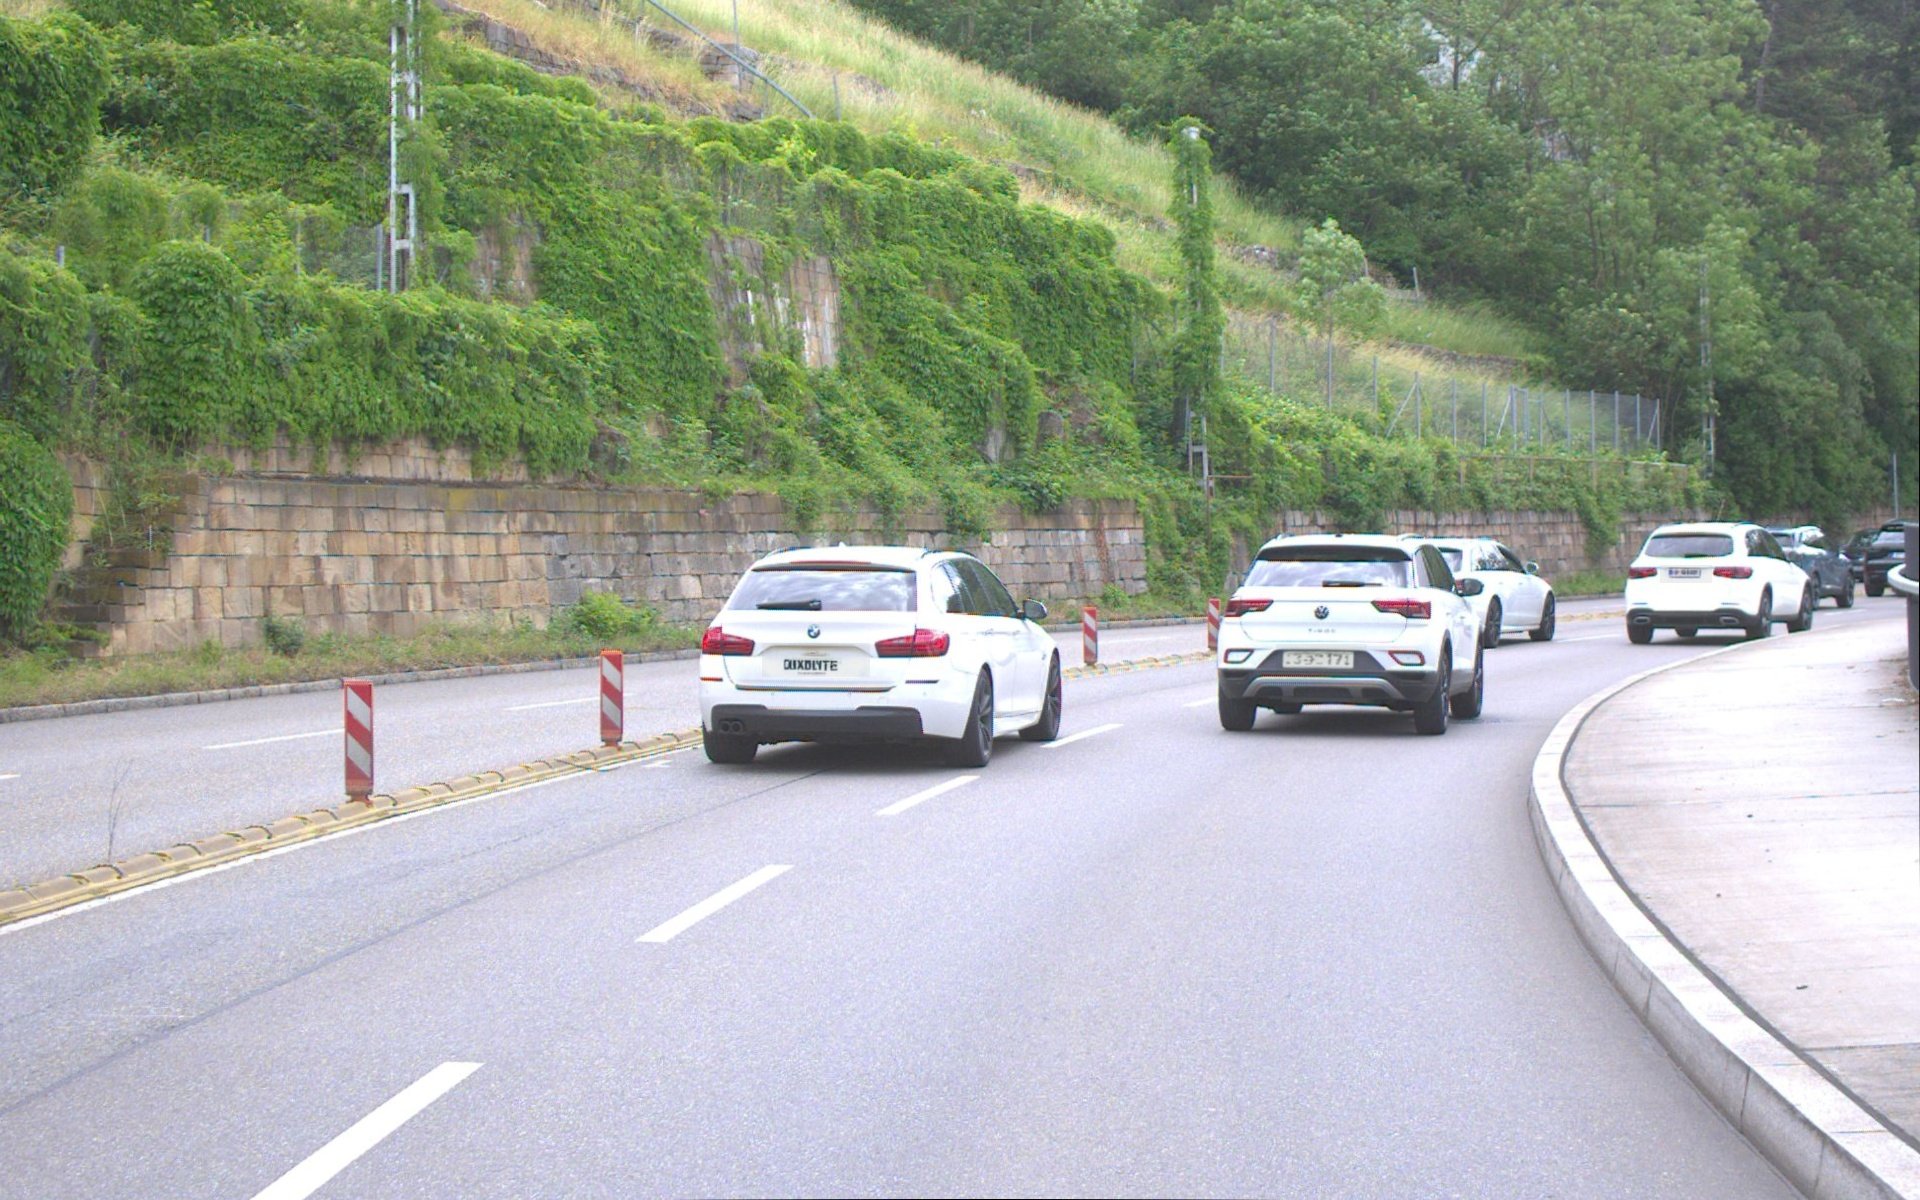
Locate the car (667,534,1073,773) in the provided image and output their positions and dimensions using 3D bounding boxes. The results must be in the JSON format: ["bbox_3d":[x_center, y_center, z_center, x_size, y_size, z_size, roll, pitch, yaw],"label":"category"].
[{"bbox_3d":[-0.508,0.332,23.928,1.829,1.455,4.483,1,0,12],"label":"car"}]

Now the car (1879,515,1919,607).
[{"bbox_3d":[18.925,-0.743,65.502,1.996,1.711,3.994,0,1,26],"label":"car"}]

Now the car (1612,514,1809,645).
[{"bbox_3d":[10.419,-0.321,47.523,1.996,1.712,4.109,1,1,22],"label":"car"}]

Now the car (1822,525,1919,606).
[{"bbox_3d":[19.933,-0.753,74.088,1.996,1.711,3.995,0,1,24],"label":"car"}]

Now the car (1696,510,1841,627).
[{"bbox_3d":[15.078,-0.591,63.978,1.995,2.007,3.996,-3,0,21],"label":"car"}]

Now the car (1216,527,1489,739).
[{"bbox_3d":[3.273,0.206,28.086,1.829,1.600,3.998,0,1,12],"label":"car"}]

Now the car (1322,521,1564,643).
[{"bbox_3d":[6.656,-0.261,46.929,1.996,1.498,4.661,-3,0,24],"label":"car"}]
